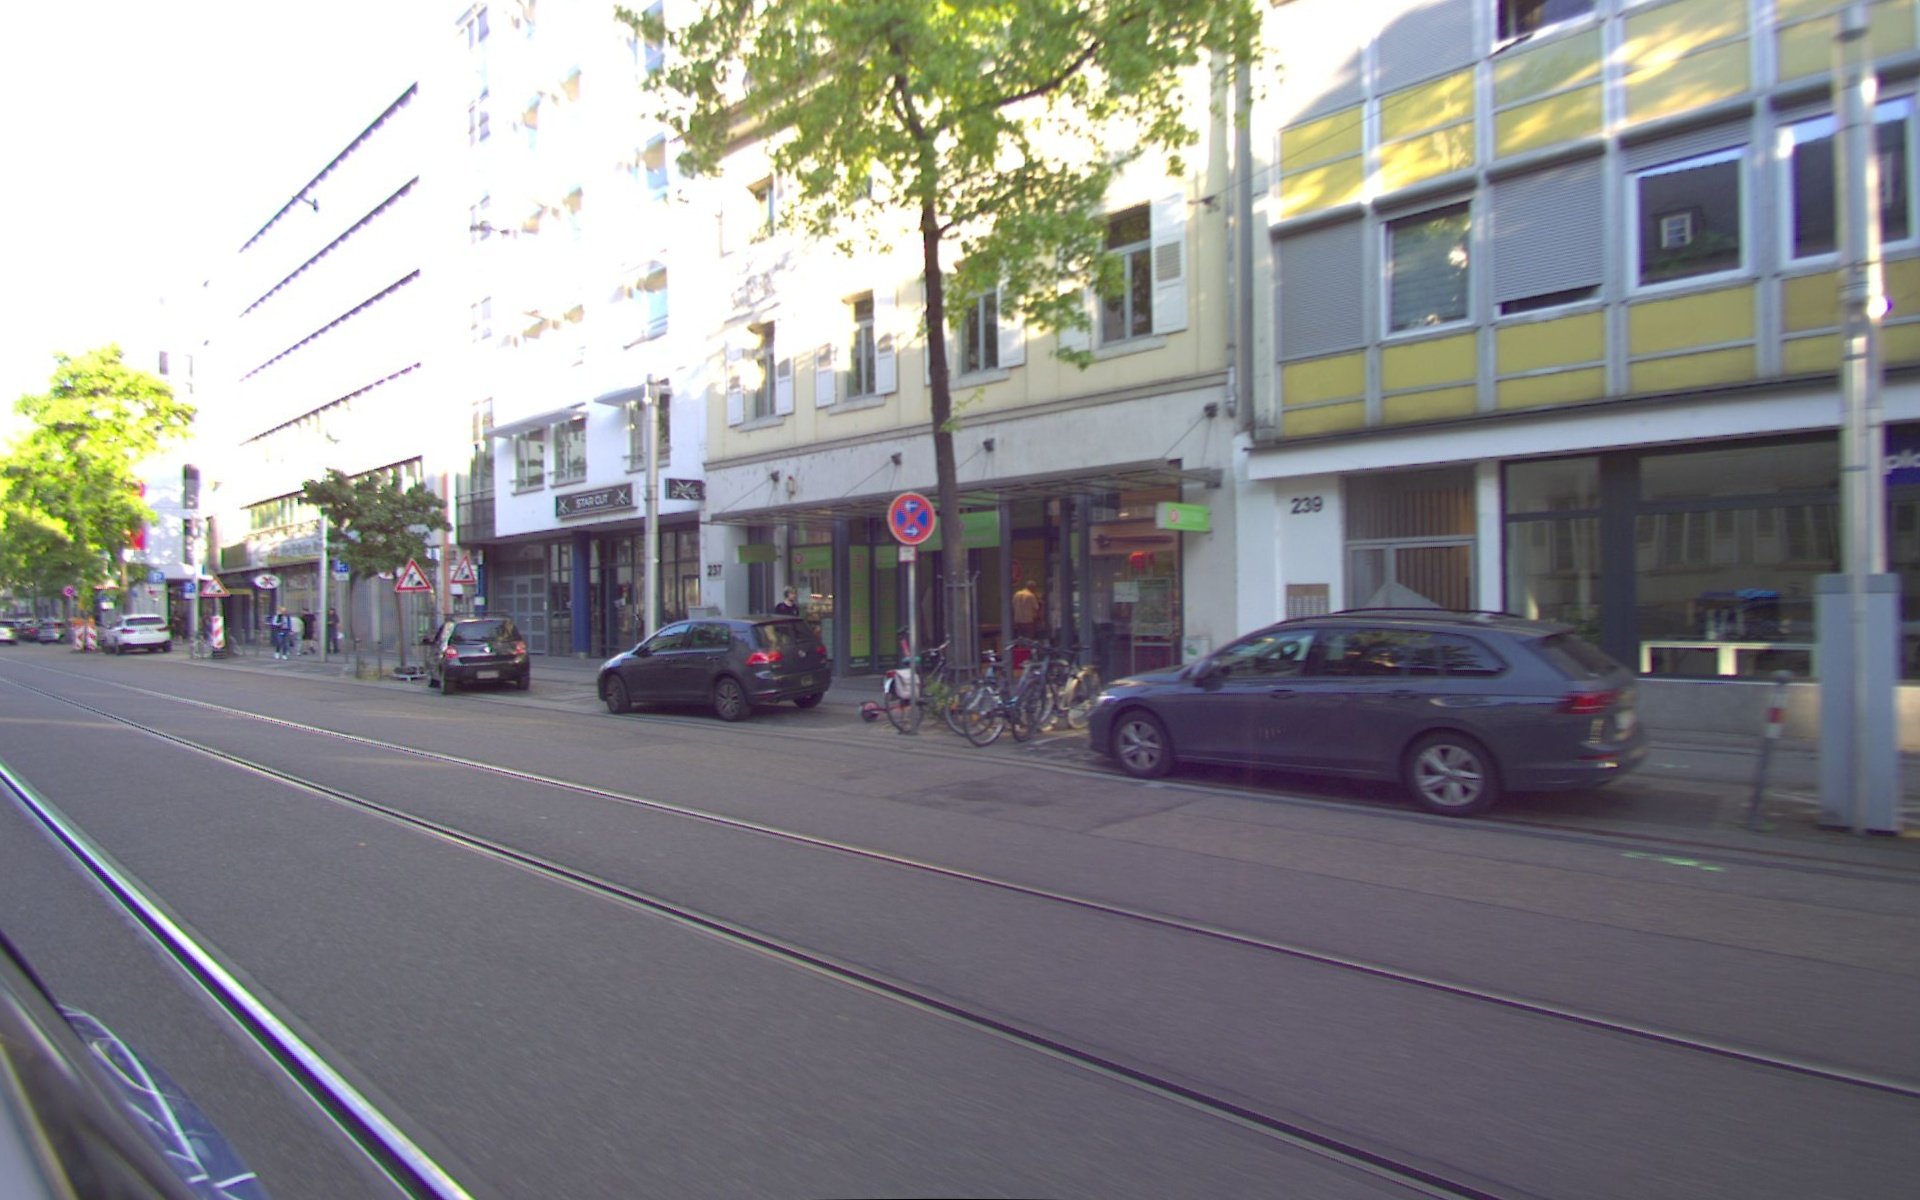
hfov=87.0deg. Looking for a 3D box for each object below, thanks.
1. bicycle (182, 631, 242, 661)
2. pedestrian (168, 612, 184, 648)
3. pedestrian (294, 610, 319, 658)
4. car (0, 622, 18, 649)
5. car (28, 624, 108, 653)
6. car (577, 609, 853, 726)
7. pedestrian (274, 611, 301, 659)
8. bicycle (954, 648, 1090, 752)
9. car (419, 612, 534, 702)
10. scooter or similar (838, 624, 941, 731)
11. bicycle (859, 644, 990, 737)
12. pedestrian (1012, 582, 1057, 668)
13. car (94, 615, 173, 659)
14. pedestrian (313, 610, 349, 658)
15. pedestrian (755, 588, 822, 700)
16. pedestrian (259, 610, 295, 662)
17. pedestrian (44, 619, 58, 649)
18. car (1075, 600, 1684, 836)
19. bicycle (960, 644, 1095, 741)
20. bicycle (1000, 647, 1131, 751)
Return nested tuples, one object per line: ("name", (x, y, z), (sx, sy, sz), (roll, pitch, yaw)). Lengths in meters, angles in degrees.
("bicycle", (-28.388, 1.733, 38.425), (1.724, 0.999, 0.479), (-5, 1, -41))
("pedestrian", (-44.506, 1.692, 57.443), (0.592, 2.029, 0.608), (-2, -2, 40))
("pedestrian", (-24.508, 1.269, 37.939), (0.620, 1.725, 0.808), (-2, 0, -44))
("car", (-59.679, 2.194, 62.457), (4.199, 1.624, 1.864), (-2, -3, 42))
("car", (-57.168, 2.441, 64.916), (1.773, 1.572, 3.384), (-1, 2, 16))
("car", (-3.824, 0.951, 15.522), (4.234, 1.501, 1.776), (-1, 1, 36))
("pedestrian", (-24.653, 1.275, 37.112), (0.634, 1.725, 0.830), (-2, 0, -44))
("bicycle", (0.734, 1.081, 11.400), (0.331, 1.009, 1.948), (-2, -1, 44))
("car", (-10.080, 1.101, 20.946), (1.608, 1.628, 3.718), (-2, 0, -33))
("scooter or similar", (-0.915, 0.990, 13.402), (1.403, 1.280, 0.375), (-3, 1, -44))
("bicycle", (-0.403, 1.096, 12.669), (0.331, 1.009, 1.948), (-2, -1, 44))
("pedestrian", (1.605, 0.537, 21.731), (0.684, 1.792, 0.662), (-2, -2, 41))
("car", (-37.191, 1.636, 45.478), (4.742, 1.767, 1.973), (-2, 1, 41))
("pedestrian", (-23.662, 1.271, 38.097), (1.037, 1.708, 0.823), (-2, 1, 42))
("pedestrian", (-2.951, 0.731, 17.368), (0.878, 1.839, 0.653), (-2, 1, 42))
("pedestrian", (-23.594, 1.232, 34.960), (0.831, 1.780, 0.842), (-2, -1, 39))
("pedestrian", (-61.044, 2.287, 67.957), (0.723, 1.948, 0.647), (-2, -2, 44))
("car", (3.318, 0.796, 8.642), (4.485, 1.472, 1.693), (-1, 1, 42))
("bicycle", (0.845, 1.073, 12.190), (1.948, 1.009, 0.420), (0, -1, -44))
("bicycle", (1.219, 1.073, 11.364), (0.330, 1.009, 1.949), (-2, -1, 44))
